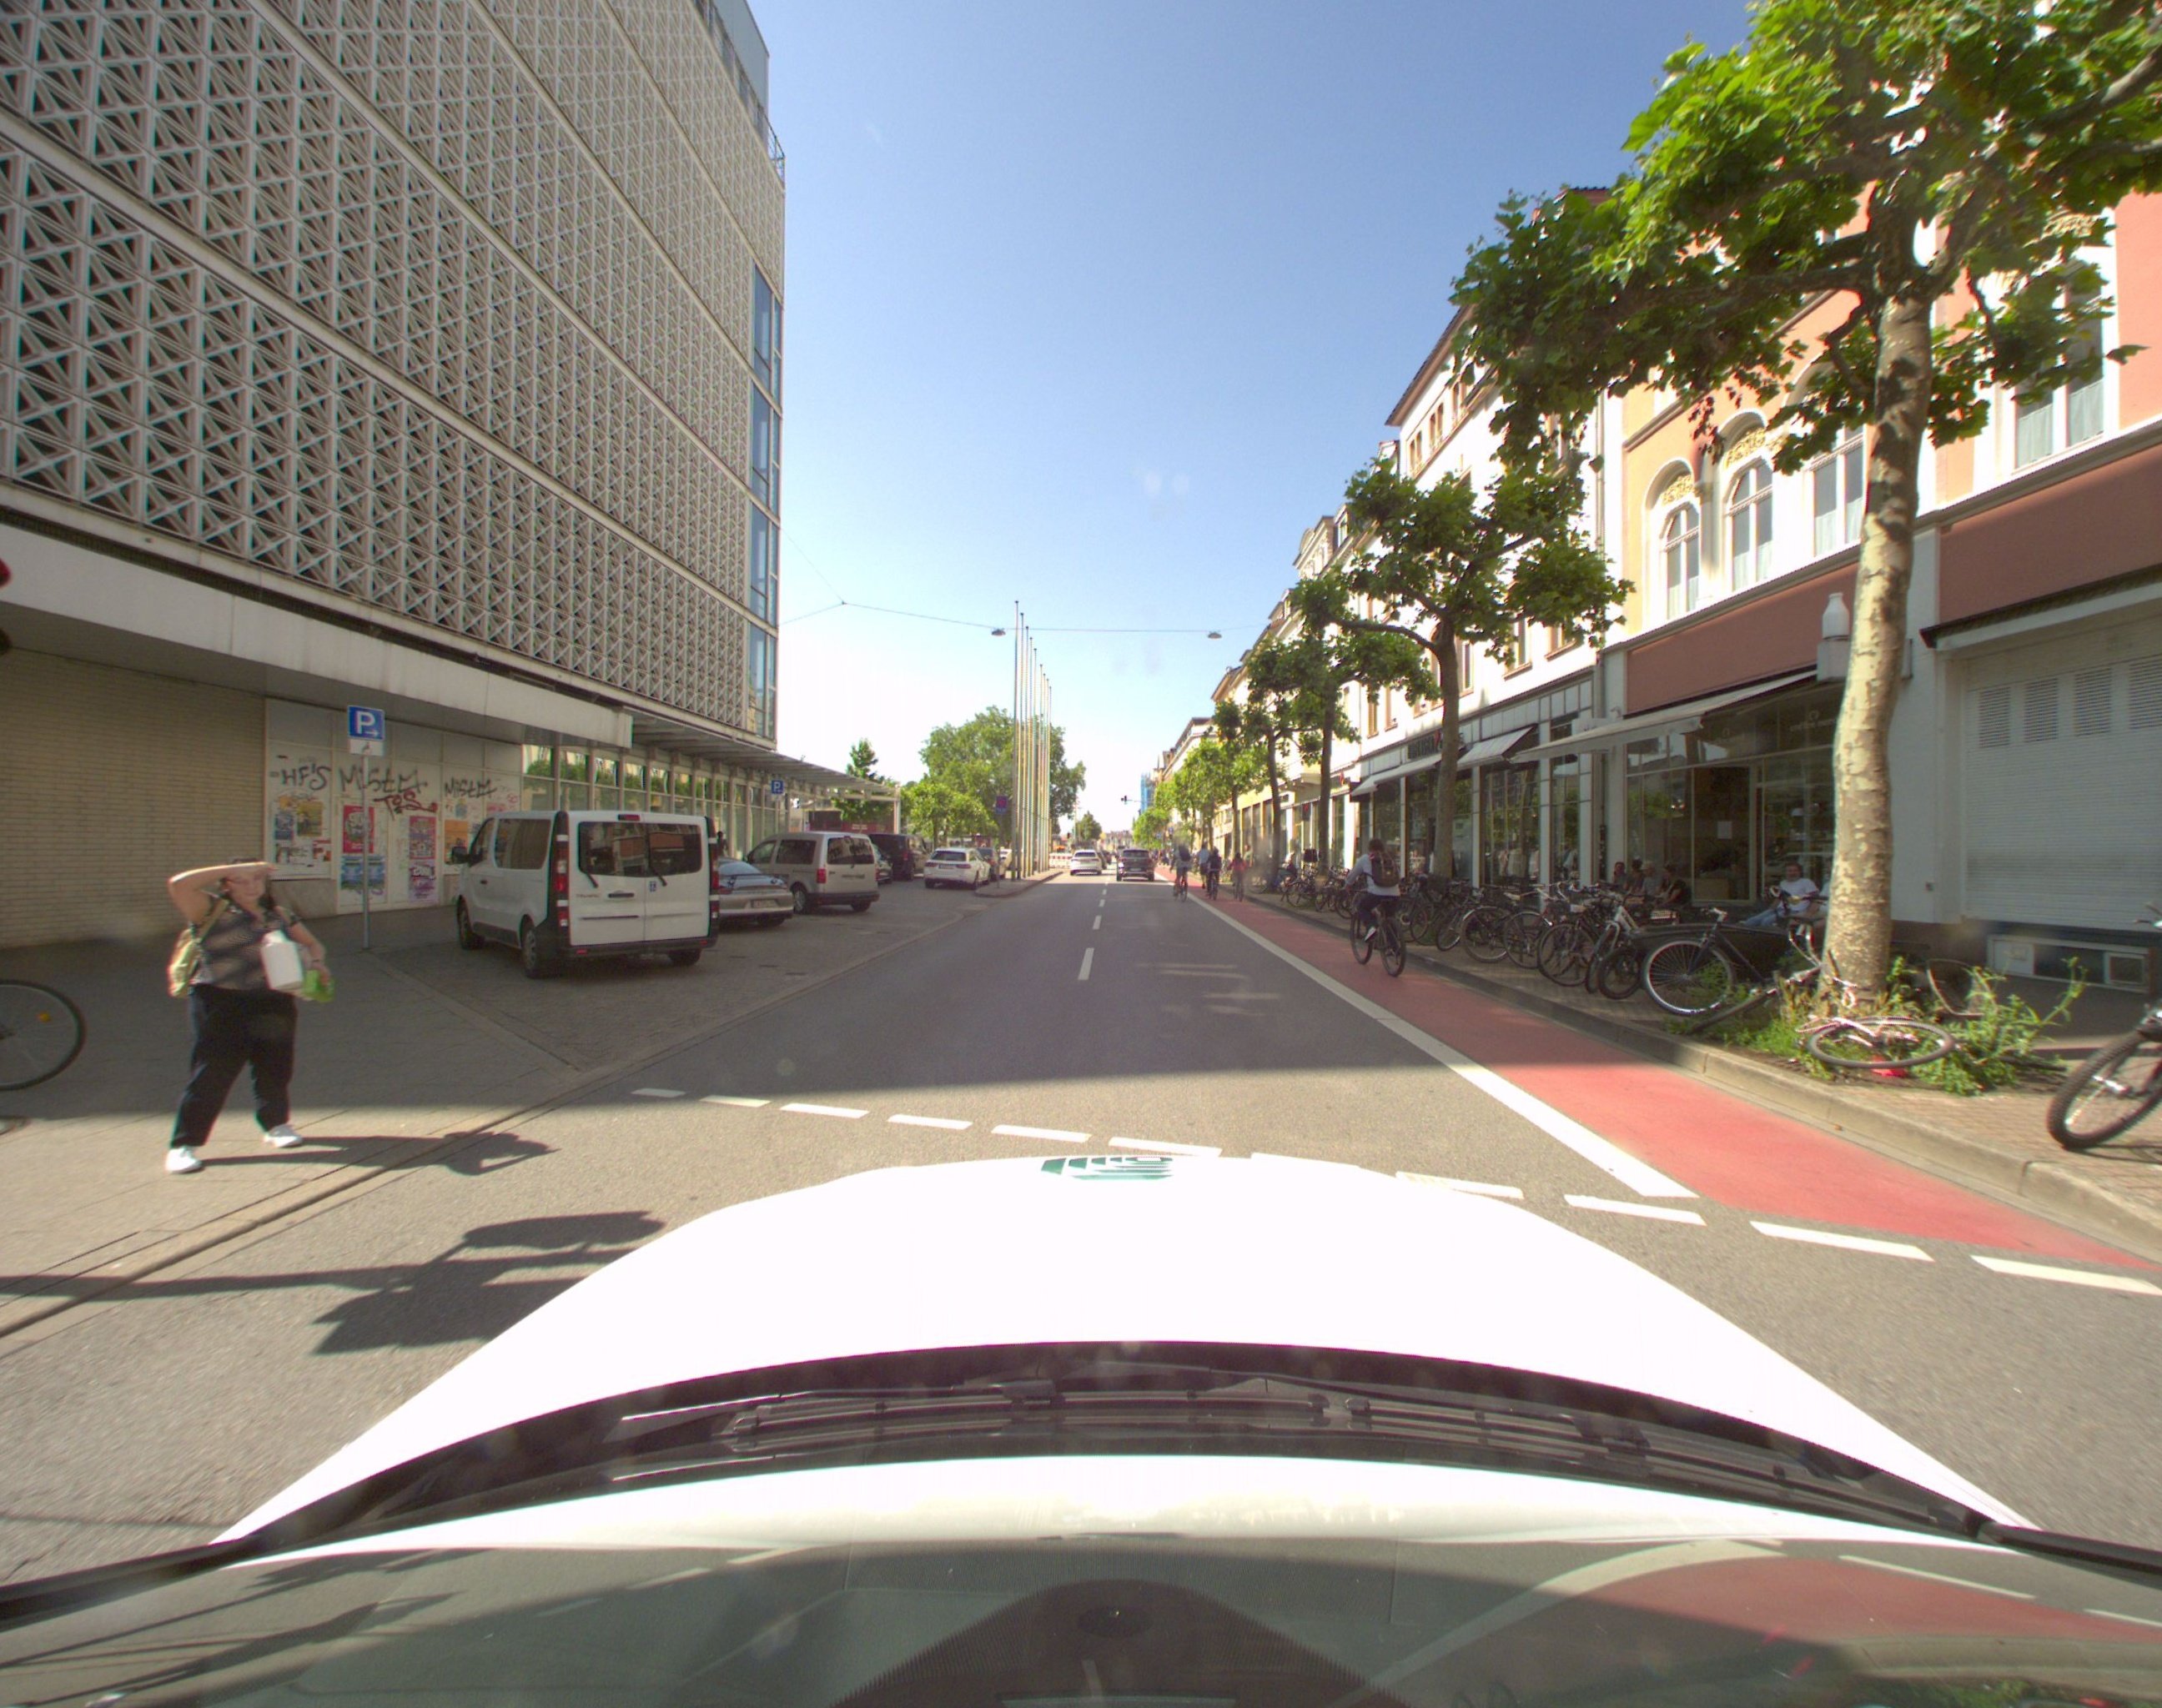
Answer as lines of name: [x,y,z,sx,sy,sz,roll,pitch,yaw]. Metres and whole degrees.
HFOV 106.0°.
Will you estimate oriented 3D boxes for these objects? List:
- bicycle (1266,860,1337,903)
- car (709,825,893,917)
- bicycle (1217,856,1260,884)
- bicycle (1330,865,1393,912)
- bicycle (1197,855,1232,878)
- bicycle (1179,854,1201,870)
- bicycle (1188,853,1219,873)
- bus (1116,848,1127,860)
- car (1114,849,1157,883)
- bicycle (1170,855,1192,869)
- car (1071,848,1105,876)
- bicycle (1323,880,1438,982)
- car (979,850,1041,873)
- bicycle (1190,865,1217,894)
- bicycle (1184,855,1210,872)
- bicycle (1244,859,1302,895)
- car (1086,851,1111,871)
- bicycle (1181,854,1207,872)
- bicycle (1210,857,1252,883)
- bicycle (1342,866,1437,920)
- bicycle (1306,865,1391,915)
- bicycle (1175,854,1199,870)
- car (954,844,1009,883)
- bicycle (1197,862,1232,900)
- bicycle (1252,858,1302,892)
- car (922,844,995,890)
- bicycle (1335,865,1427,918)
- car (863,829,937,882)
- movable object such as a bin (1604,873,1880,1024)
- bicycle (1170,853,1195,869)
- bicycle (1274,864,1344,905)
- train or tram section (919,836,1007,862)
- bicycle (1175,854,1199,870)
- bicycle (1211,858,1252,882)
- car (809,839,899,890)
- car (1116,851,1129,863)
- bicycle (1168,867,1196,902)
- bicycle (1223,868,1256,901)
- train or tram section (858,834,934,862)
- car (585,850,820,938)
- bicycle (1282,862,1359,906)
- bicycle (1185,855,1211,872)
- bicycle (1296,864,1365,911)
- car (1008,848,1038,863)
bicycle: [6.381,0.794,23.595,1.839,1.127,0.630,3,-1,-9]
car: [-6.614,0.316,19.059,4.389,1.909,2.022,1,1,39]
bicycle: [6.946,0.691,36.071,1.829,1.197,0.675,1,0,9]
bicycle: [6.889,0.832,19.955,1.853,1.127,0.443,1,-2,-35]
bicycle: [7.365,0.669,44.897,1.830,1.186,0.671,2,0,7]
bicycle: [8.218,0.595,61.462,1.641,1.201,0.475,1,0,4]
bicycle: [7.798,0.592,51.990,1.922,1.248,0.737,1,0,4]
bus: [12.178,0.075,245.864,2.983,3.594,11.748,1,0,2]
car: [2.561,0.527,39.053,1.840,1.559,4.000,0,0,0]
bicycle: [8.399,0.656,68.482,1.776,1.122,0.562,0,0,-1]
car: [0.448,0.422,47.237,1.838,1.560,4.003,0,0,3]
bicycle: [3.862,0.944,10.692,0.696,1.127,2.080,2,0,-1]
car: [-4.877,0.491,56.939,1.873,1.541,4.892,1,1,29]
bicycle: [4.584,0.927,30.529,0.771,1.006,2.331,0,0,3]
bicycle: [7.862,0.667,55.158,1.720,1.109,0.478,1,0,4]
bicycle: [6.609,0.784,28.047,1.837,1.126,0.496,3,1,-6]
car: [1.348,0.507,62.475,1.839,1.449,4.002,0,0,2]
bicycle: [7.819,0.600,56.247,1.720,1.217,0.478,1,0,4]
bicycle: [6.827,0.728,37.142,1.827,1.127,0.499,2,0,13]
bicycle: [6.500,0.812,17.227,1.831,1.127,0.449,0,-1,4]
bicycle: [6.221,0.816,18.998,1.822,1.127,0.451,0,-1,30]
bicycle: [8.162,0.592,62.684,1.835,1.201,0.545,1,0,4]
car: [-4.351,0.378,36.308,1.754,1.600,4.711,1,0,1]
bicycle: [4.221,0.829,25.865,0.696,1.127,2.080,2,0,-1]
bicycle: [7.157,0.770,29.697,1.783,1.197,0.573,1,0,-26]
car: [-4.490,0.424,30.509,1.792,1.523,4.742,1,1,2]
bicycle: [6.501,0.812,17.687,1.831,1.127,0.449,0,-1,4]
car: [-7.453,0.045,34.073,1.825,2.013,4.688,1,0,3]
movable object such as a bin: [6.013,0.822,7.528,1.836,1.189,0.656,2,0,17]
bicycle: [8.385,0.566,67.602,1.937,1.257,0.701,1,0,-17]
bicycle: [6.458,0.857,23.093,1.839,1.093,0.563,2,0,-9]
train or tram section: [-17.429,-0.680,122.494,2.588,3.676,15.646,1,0,37]
bicycle: [8.220,0.598,63.189,1.835,1.201,0.609,1,0,4]
bicycle: [7.151,0.740,38.788,1.830,1.097,0.795,1,0,7]
car: [-7.817,0.340,28.455,1.988,1.610,4.397,1,0,-2]
car: [6.409,0.452,126.190,1.838,1.668,4.002,2,0,2]
bicycle: [3.021,0.895,24.441,0.628,0.980,2.089,0,0,2]
bicycle: [4.981,0.951,25.677,0.598,0.926,2.087,1,1,0]
train or tram section: [-25.321,-0.780,112.159,2.588,3.676,11.071,1,0,37]
car: [-7.118,0.662,15.214,4.244,1.286,1.983,3,0,33]
bicycle: [6.566,0.817,22.347,1.840,1.127,0.763,3,-2,-11]
bicycle: [7.816,0.623,54.325,1.720,1.109,0.403,1,0,4]
bicycle: [6.147,0.802,20.030,1.853,1.127,0.588,1,-1,-34]
car: [-7.348,0.196,104.031,1.843,1.955,4.787,0,-1,23]
